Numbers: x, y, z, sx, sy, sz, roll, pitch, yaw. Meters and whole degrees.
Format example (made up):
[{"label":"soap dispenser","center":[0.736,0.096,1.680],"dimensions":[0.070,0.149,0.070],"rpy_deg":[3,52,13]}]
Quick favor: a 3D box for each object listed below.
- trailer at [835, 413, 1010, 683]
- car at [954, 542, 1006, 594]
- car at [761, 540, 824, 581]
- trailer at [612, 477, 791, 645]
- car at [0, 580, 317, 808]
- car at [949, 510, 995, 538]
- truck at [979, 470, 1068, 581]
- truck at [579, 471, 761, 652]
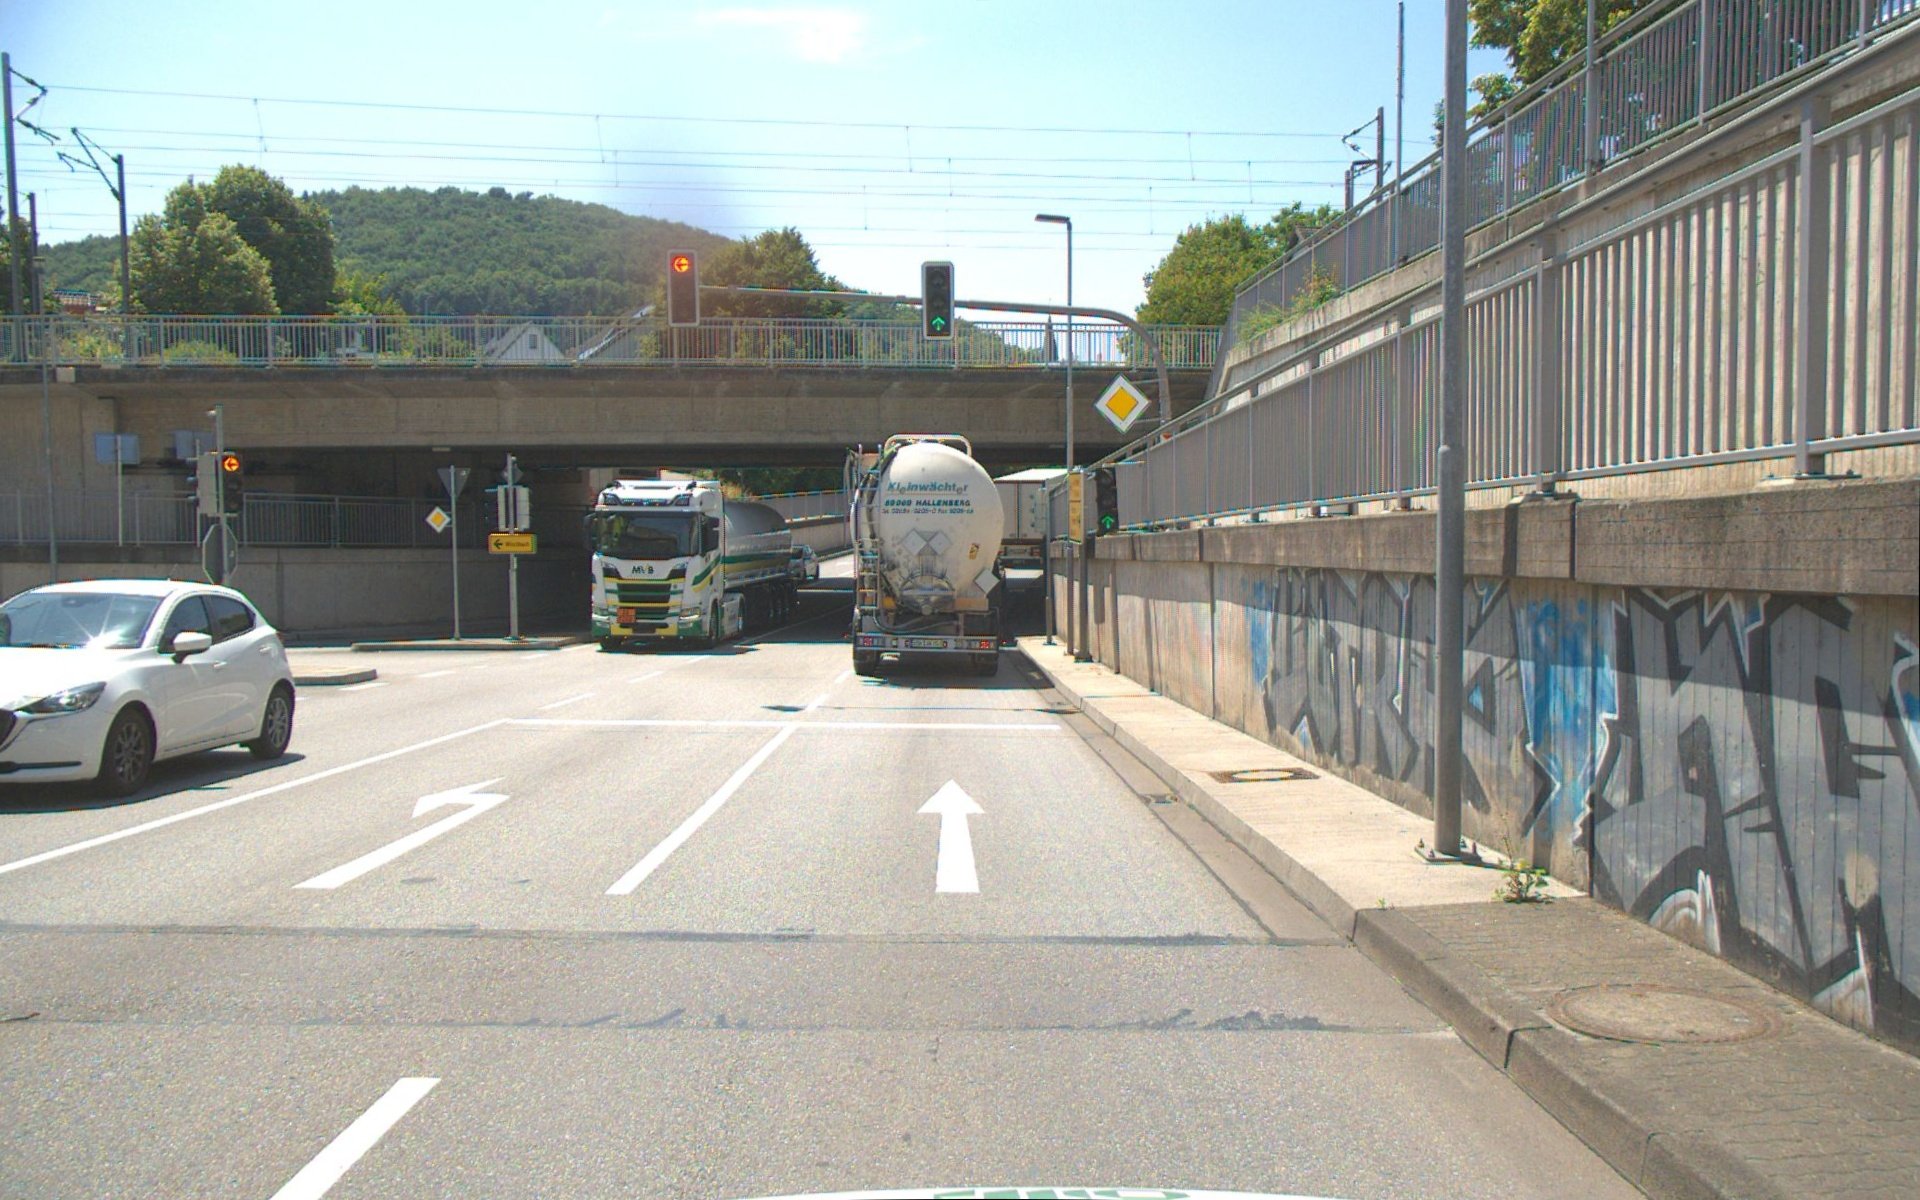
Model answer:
[{"label":"trailer","center":[-0.527,-0.894,32.186],"dimensions":[2.679,4.135,13.314],"rpy_deg":[0,1,0]},{"label":"car","center":[0.810,-1.278,64.663],"dimensions":[1.843,1.667,4.005],"rpy_deg":[1,6,3]},{"label":"car","center":[-6.886,-1.646,68.309],"dimensions":[1.742,1.491,3.837],"rpy_deg":[1,4,8]},{"label":"trailer","center":[-6.349,-0.937,42.285],"dimensions":[2.633,3.727,9.892],"rpy_deg":[1,1,2]},{"label":"car","center":[-6.541,0.598,12.671],"dimensions":[1.648,1.466,4.093],"rpy_deg":[0,0,0]},{"label":"car","center":[0.772,-4.755,103.050],"dimensions":[1.857,1.556,4.005],"rpy_deg":[0,5,16]},{"label":"truck","center":[3.274,-3.662,81.562],"dimensions":[3.015,5.086,10.094],"rpy_deg":[2,3,9]},{"label":"truck","center":[-6.500,-0.847,38.191],"dimensions":[2.634,3.727,7.371],"rpy_deg":[1,1,2]}]
